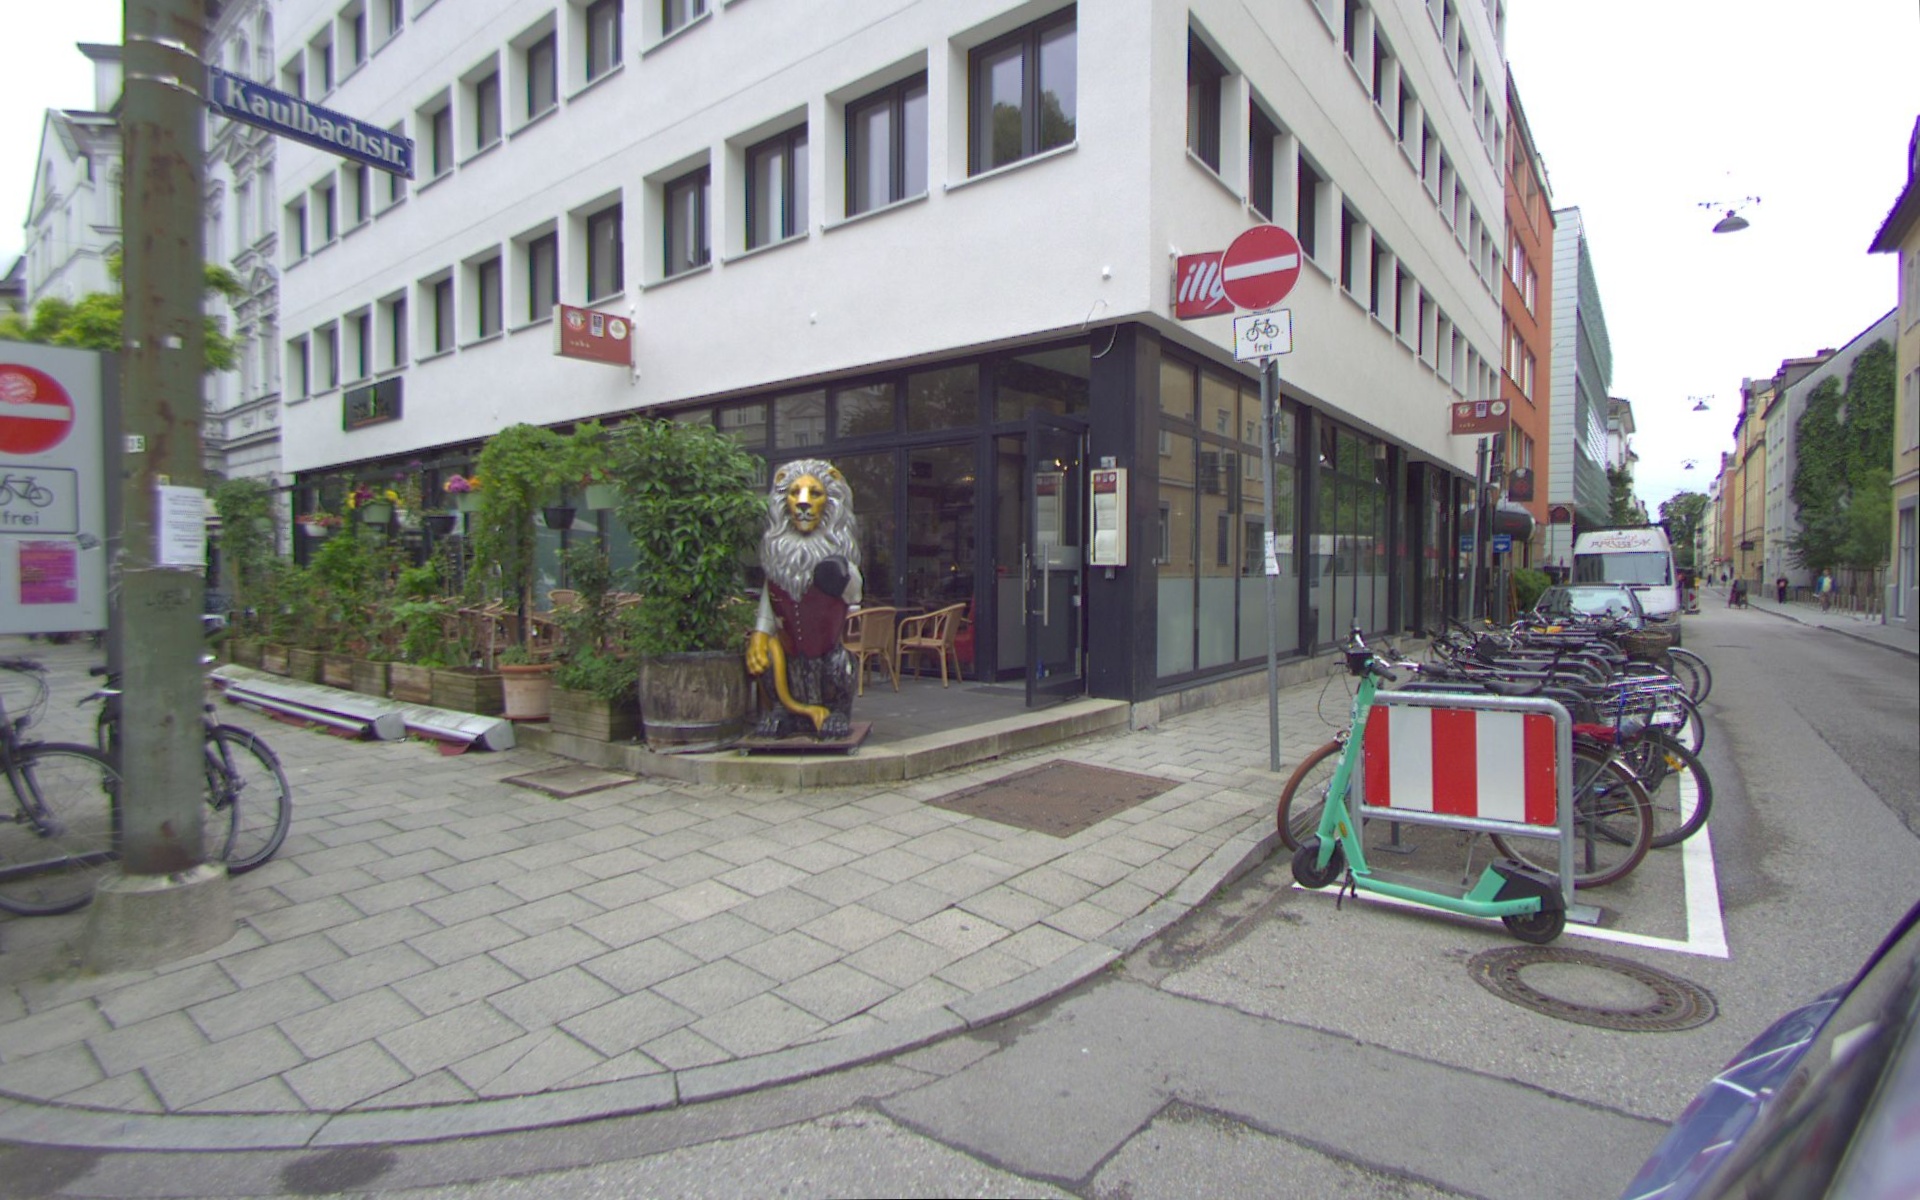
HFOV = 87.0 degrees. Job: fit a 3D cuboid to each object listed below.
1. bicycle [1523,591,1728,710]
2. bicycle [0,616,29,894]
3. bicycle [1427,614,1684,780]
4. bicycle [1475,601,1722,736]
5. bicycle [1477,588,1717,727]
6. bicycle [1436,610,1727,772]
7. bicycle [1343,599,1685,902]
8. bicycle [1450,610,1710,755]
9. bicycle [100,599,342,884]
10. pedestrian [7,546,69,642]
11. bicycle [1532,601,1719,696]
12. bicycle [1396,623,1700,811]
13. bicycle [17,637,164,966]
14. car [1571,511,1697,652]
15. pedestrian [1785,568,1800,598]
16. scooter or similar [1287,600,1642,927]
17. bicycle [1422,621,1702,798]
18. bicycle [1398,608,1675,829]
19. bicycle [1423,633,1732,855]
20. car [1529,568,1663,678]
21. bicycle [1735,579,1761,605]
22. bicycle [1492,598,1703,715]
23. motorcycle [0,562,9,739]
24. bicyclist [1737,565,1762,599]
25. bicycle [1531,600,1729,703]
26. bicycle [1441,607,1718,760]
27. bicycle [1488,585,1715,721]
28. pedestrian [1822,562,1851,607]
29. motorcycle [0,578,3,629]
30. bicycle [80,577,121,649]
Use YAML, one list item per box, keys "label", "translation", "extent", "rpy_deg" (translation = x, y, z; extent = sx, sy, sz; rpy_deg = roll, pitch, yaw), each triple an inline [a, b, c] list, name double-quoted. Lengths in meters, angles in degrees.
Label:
- label: "bicycle"
  translation: [7.389, 0.520, 11.316]
  extent: [1.867, 1.219, 0.482]
  rpy_deg: [1, 0, 35]
- label: "bicycle"
  translation: [-4.457, 0.609, 4.362]
  extent: [1.498, 1.085, 0.365]
  rpy_deg: [1, 2, 36]
- label: "bicycle"
  translation: [4.397, 0.676, 7.560]
  extent: [1.606, 1.093, 0.373]
  rpy_deg: [1, 0, 34]
- label: "bicycle"
  translation: [5.811, 0.581, 9.311]
  extent: [1.866, 1.109, 0.435]
  rpy_deg: [1, 0, 34]
- label: "bicycle"
  translation: [6.091, 0.506, 9.770]
  extent: [1.886, 1.184, 0.559]
  rpy_deg: [2, 2, 34]
- label: "bicycle"
  translation: [4.743, 0.648, 7.843]
  extent: [1.866, 1.093, 0.403]
  rpy_deg: [1, 0, 34]
- label: "bicycle"
  translation: [2.722, 0.663, 5.061]
  extent: [1.453, 1.301, 0.439]
  rpy_deg: [1, 1, 38]
- label: "bicycle"
  translation: [5.331, 0.666, 8.805]
  extent: [1.866, 1.064, 0.558]
  rpy_deg: [1, 3, 33]
- label: "bicycle"
  translation: [-3.752, 0.590, 5.074]
  extent: [1.900, 1.141, 0.583]
  rpy_deg: [1, 2, 42]
- label: "pedestrian"
  translation: [-17.069, -0.124, 18.749]
  extent: [0.711, 1.736, 0.689]
  rpy_deg: [-1, 1, -33]
- label: "bicycle"
  translation: [8.137, 0.573, 12.446]
  extent: [1.867, 1.093, 0.482]
  rpy_deg: [-1, -1, 35]
- label: "bicycle"
  translation: [3.951, 0.738, 6.910]
  extent: [1.733, 1.093, 0.447]
  rpy_deg: [1, 0, 34]
- label: "bicycle"
  translation: [-3.661, 0.760, 4.240]
  extent: [1.178, 1.141, 0.334]
  rpy_deg: [1, 2, 43]
- label: "car"
  translation: [14.085, -0.395, 21.124]
  extent: [1.914, 2.537, 5.923]
  rpy_deg: [0, 1, 35]
- label: "pedestrian"
  translation: [47.217, -0.980, 57.422]
  extent: [0.550, 1.680, 0.985]
  rpy_deg: [1, 2, 35]
- label: "scooter or similar"
  translation: [2.187, 0.631, 4.480]
  extent: [1.350, 1.225, 0.412]
  rpy_deg: [1, 2, 38]
- label: "bicycle"
  translation: [4.232, 0.728, 7.210]
  extent: [1.668, 1.093, 0.332]
  rpy_deg: [1, 0, 34]
- label: "bicycle"
  translation: [3.514, 0.677, 6.270]
  extent: [1.443, 1.222, 0.391]
  rpy_deg: [1, 1, 29]
- label: "bicycle"
  translation: [3.446, 0.759, 5.764]
  extent: [1.443, 1.083, 0.459]
  rpy_deg: [1, 1, 29]
- label: "car"
  translation: [9.875, 0.264, 15.624]
  extent: [1.575, 1.482, 3.508]
  rpy_deg: [1, 2, 35]
- label: "bicycle"
  translation: [41.527, -0.434, 53.324]
  extent: [0.929, 1.272, 2.383]
  rpy_deg: [3, 3, 35]
- label: "bicycle"
  translation: [6.820, 0.570, 10.902]
  extent: [1.867, 1.172, 0.558]
  rpy_deg: [0, -1, 35]
- label: "motorcycle"
  translation: [-8.588, 0.382, 8.548]
  extent: [2.170, 1.402, 0.648]
  rpy_deg: [2, 2, 43]
- label: "bicyclist"
  translation: [41.355, -0.936, 53.046]
  extent: [0.924, 1.742, 1.085]
  rpy_deg: [3, 2, 36]
- label: "bicycle"
  translation: [7.707, 0.564, 11.720]
  extent: [1.867, 1.122, 0.482]
  rpy_deg: [0, -1, 35]
- label: "bicycle"
  translation: [4.965, 0.626, 8.218]
  extent: [1.866, 1.093, 0.397]
  rpy_deg: [1, 0, 34]
- label: "bicycle"
  translation: [6.458, 0.487, 10.270]
  extent: [1.867, 1.219, 0.572]
  rpy_deg: [3, 2, 35]
- label: "pedestrian"
  translation: [36.970, -0.649, 42.688]
  extent: [0.857, 1.867, 0.961]
  rpy_deg: [0, 1, 37]
- label: "motorcycle"
  translation: [-22.543, 0.069, 23.459]
  extent: [0.464, 1.141, 1.412]
  rpy_deg: [-1, 2, -42]
- label: "bicycle"
  translation: [-14.367, 0.201, 16.903]
  extent: [0.464, 1.141, 1.412]
  rpy_deg: [-1, 2, -42]
